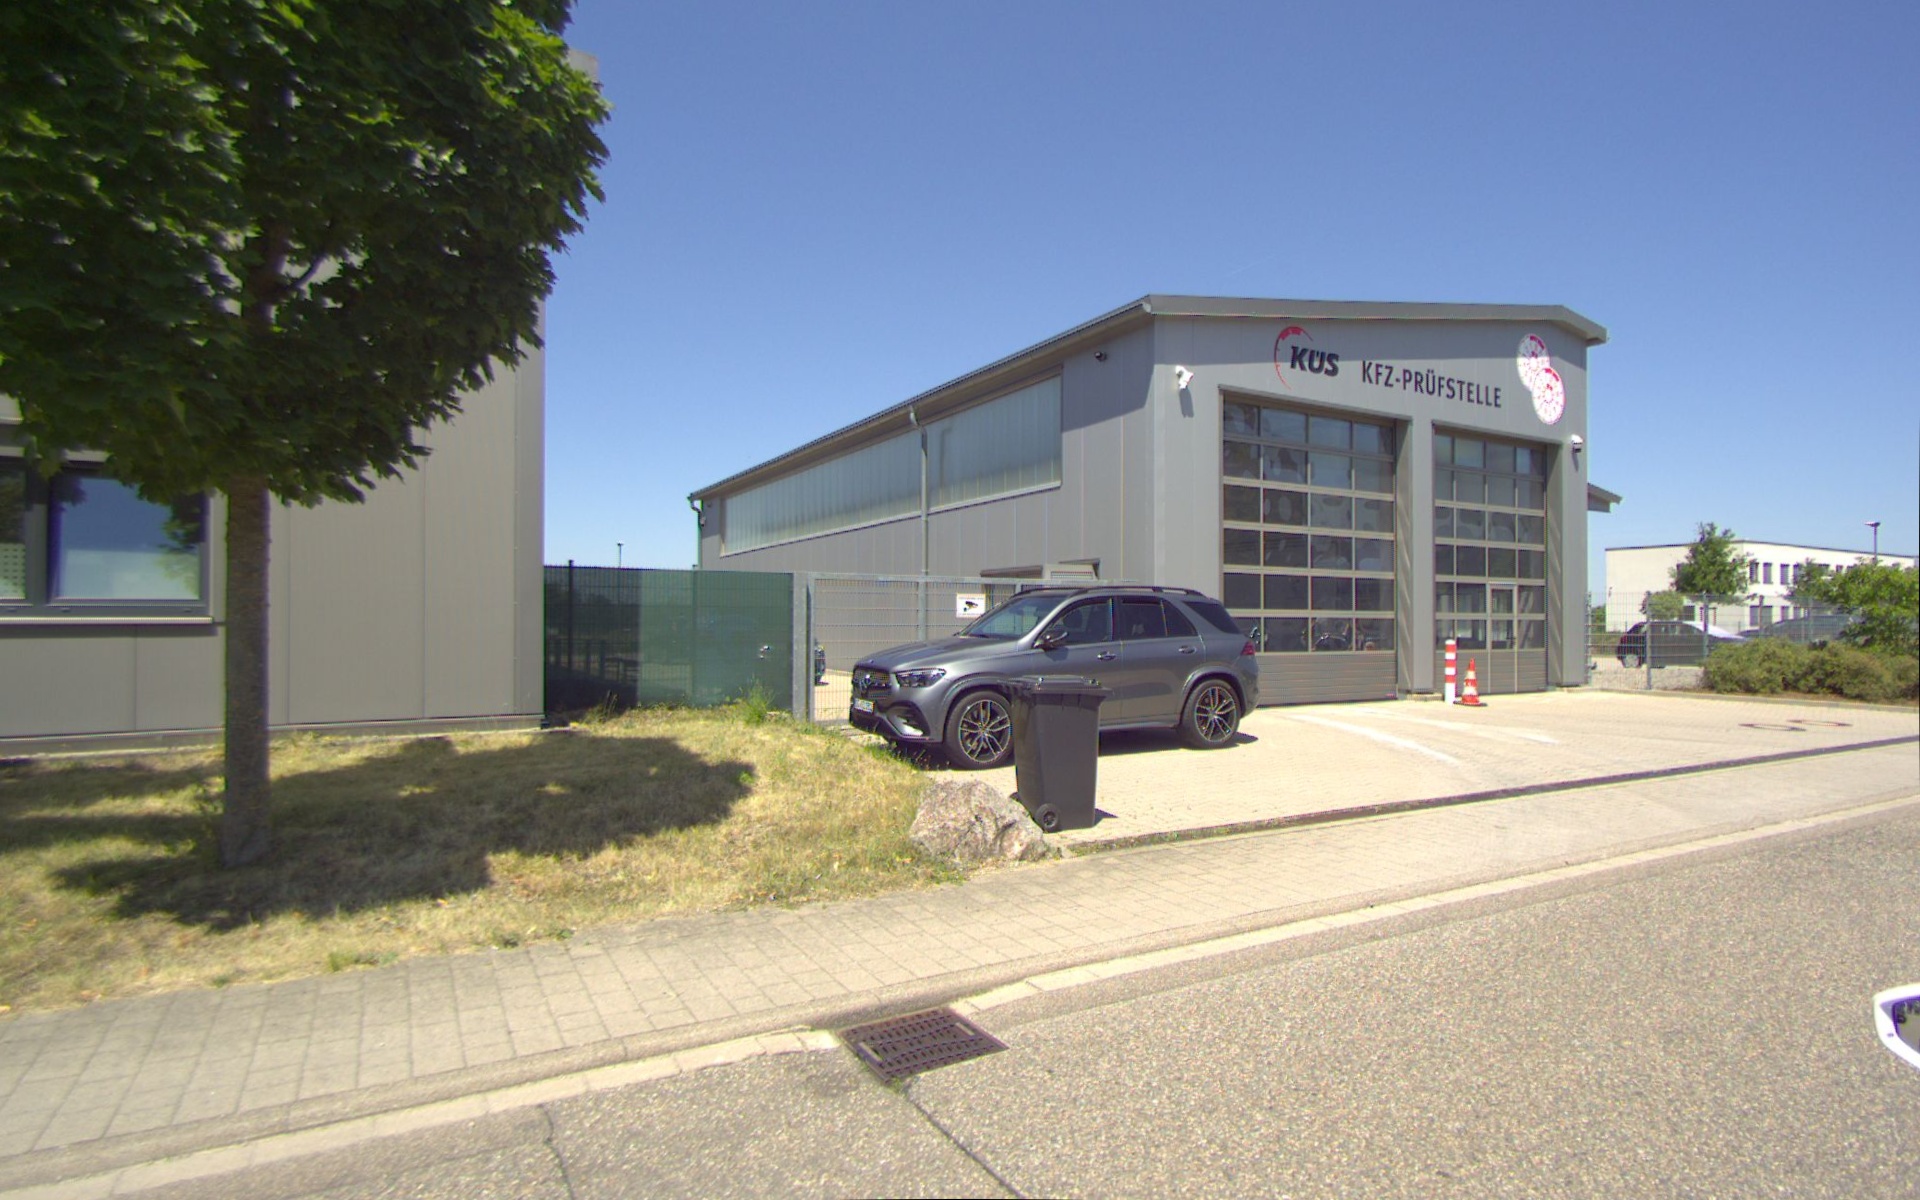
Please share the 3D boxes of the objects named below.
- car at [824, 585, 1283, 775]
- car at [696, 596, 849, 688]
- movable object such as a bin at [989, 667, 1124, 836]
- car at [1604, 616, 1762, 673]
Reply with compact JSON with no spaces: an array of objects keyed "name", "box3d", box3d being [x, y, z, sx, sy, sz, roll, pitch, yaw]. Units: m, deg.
[{"name":"car","box3d":[1.091,0.726,11.279,4.848,1.759,1.986,0,1,-27]},{"name":"car","box3d":[-4.223,0.793,21.941,1.974,1.759,4.878,0,0,-27]},{"name":"movable object such as a bin","box3d":[0.685,1.047,7.198,0.756,1.080,0.576,1,1,-30]},{"name":"car","box3d":[21.261,1.279,29.658,1.542,1.572,3.479,1,-1,-34]}]
